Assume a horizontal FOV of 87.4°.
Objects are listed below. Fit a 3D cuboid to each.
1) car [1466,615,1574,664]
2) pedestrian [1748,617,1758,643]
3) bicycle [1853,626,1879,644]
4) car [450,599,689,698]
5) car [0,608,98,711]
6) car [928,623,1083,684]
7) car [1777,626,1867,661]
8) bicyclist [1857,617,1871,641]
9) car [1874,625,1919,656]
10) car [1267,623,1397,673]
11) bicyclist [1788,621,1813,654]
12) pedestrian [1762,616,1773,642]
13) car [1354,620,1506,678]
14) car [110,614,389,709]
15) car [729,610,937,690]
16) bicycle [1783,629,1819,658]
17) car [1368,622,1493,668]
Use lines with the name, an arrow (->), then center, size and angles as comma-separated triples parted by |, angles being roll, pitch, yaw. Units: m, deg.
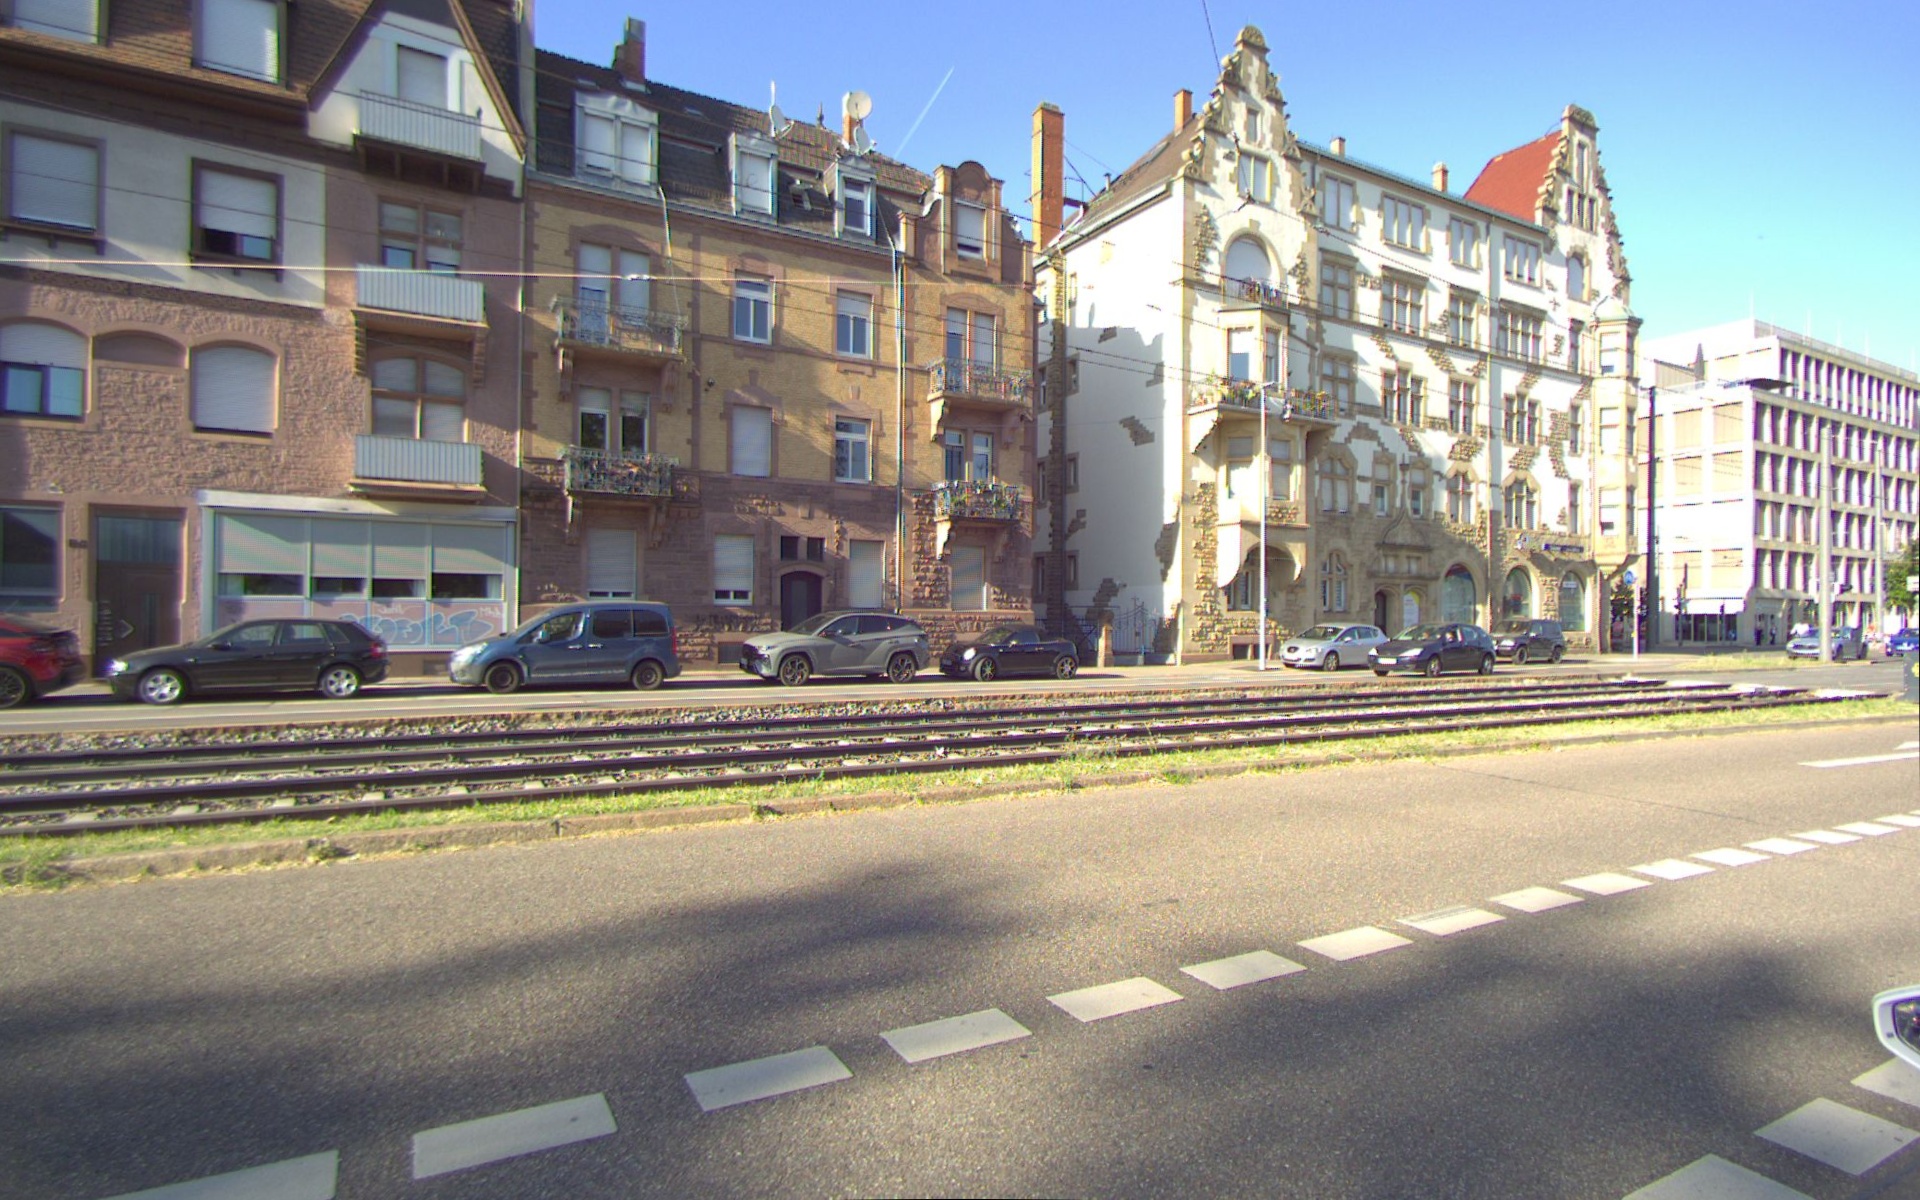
car -> 21.149, 1.464, 37.923 | 4.169, 1.698, 1.708 | 1, 1, -32
pedestrian -> 58.663, 2.226, 74.267 | 0.464, 1.868, 0.443 | 0, -1, 23
bicycle -> 65.685, 2.535, 72.821 | 2.356, 1.231, 0.574 | 1, -1, -25
car -> -7.937, 0.932, 20.466 | 4.361, 1.782, 1.878 | 1, 2, -28
car -> -16.493, 0.920, 15.800 | 4.162, 1.519, 1.846 | 1, 2, -31
car -> 1.178, 1.334, 25.736 | 3.683, 1.373, 1.614 | 1, 2, -31
car -> 38.082, 1.876, 44.355 | 4.492, 1.476, 1.809 | 1, -2, -33
bicyclist -> 65.461, 2.095, 72.725 | 0.634, 1.708, 0.574 | 1, -1, -25
car -> 47.773, 2.025, 50.452 | 4.112, 1.476, 1.809 | 1, -2, -33
car -> 11.940, 1.491, 32.185 | 4.177, 1.450, 1.700 | 1, 1, -32
bicyclist -> 40.962, 1.810, 48.942 | 0.775, 1.583, 0.682 | 1, -1, -28
pedestrian -> 59.301, 2.136, 73.759 | 0.522, 1.868, 0.443 | 0, -1, 23
car -> 12.824, 1.305, 27.352 | 4.119, 1.476, 1.810 | 1, -2, -32
car -> -12.399, 1.023, 17.851 | 3.882, 1.457, 1.686 | 1, 2, -31
car -> -2.921, 1.104, 23.447 | 4.451, 1.645, 1.846 | 1, 2, -31
bicycle -> 40.961, 2.108, 48.934 | 1.923, 1.400, 0.682 | 1, -2, -29
car -> 16.496, 1.532, 35.153 | 4.603, 1.442, 1.708 | 1, 1, -32
